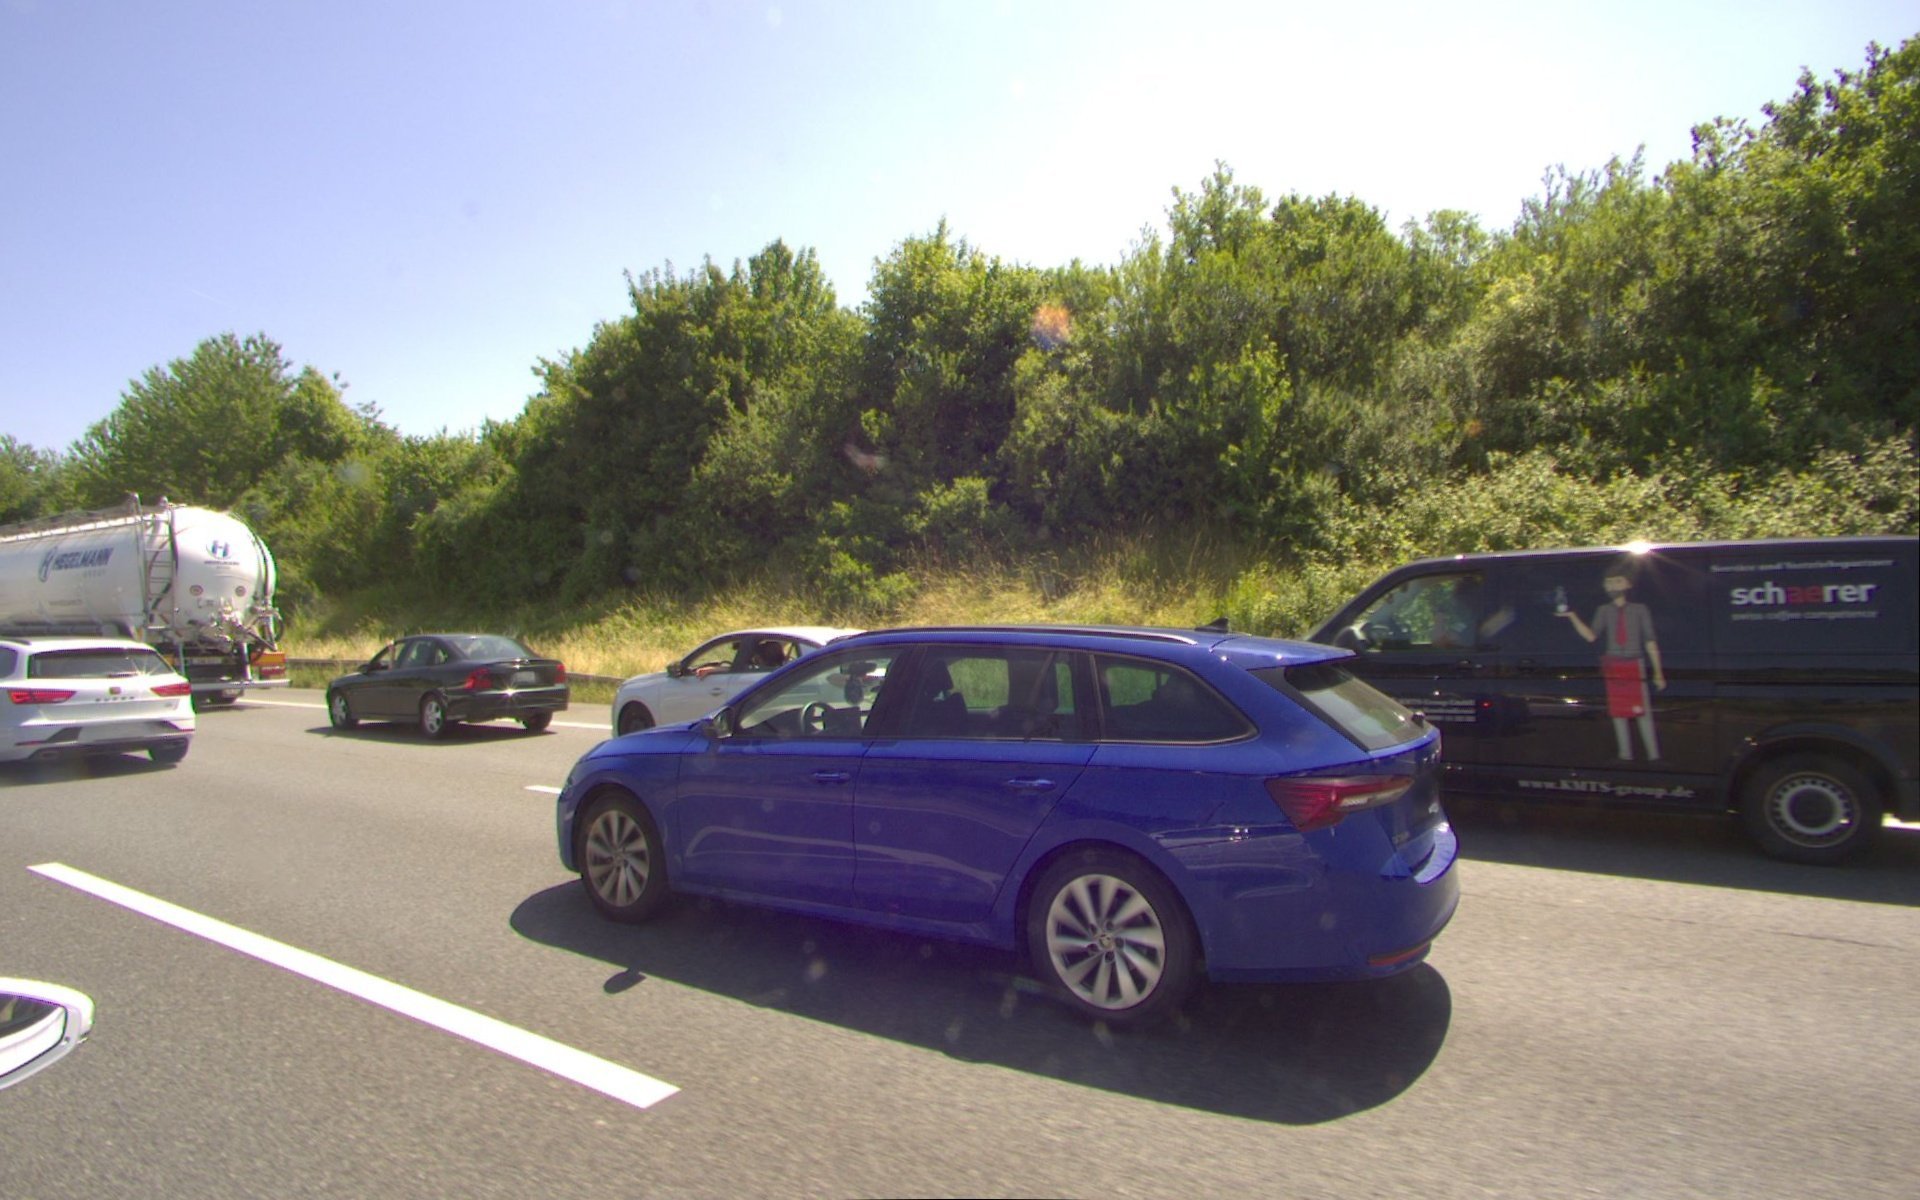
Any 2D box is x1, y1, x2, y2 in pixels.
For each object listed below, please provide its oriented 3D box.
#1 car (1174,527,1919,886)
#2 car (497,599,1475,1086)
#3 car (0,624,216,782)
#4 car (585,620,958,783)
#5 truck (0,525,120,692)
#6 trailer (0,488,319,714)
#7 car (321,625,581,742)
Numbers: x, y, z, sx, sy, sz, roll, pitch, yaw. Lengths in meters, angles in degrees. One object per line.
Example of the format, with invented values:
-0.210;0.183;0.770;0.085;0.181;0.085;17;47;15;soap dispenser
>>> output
4.204;0.640;7.315;4.790;1.965;1.909;-2;-1;34;car
-0.066;0.797;4.923;4.506;1.435;1.773;-2;0;31;car
-10.404;1.065;11.422;4.255;1.462;1.743;-2;-1;34;car
-2.153;0.975;11.075;3.971;1.462;1.727;0;0;33;car
-24.319;0.251;25.614;5.493;3.887;2.787;-1;0;33;truck
-18.107;0.127;21.574;11.324;3.895;2.755;-1;0;33;trailer
-7.451;1.145;14.558;3.934;1.435;1.637;-2;0;34;car
